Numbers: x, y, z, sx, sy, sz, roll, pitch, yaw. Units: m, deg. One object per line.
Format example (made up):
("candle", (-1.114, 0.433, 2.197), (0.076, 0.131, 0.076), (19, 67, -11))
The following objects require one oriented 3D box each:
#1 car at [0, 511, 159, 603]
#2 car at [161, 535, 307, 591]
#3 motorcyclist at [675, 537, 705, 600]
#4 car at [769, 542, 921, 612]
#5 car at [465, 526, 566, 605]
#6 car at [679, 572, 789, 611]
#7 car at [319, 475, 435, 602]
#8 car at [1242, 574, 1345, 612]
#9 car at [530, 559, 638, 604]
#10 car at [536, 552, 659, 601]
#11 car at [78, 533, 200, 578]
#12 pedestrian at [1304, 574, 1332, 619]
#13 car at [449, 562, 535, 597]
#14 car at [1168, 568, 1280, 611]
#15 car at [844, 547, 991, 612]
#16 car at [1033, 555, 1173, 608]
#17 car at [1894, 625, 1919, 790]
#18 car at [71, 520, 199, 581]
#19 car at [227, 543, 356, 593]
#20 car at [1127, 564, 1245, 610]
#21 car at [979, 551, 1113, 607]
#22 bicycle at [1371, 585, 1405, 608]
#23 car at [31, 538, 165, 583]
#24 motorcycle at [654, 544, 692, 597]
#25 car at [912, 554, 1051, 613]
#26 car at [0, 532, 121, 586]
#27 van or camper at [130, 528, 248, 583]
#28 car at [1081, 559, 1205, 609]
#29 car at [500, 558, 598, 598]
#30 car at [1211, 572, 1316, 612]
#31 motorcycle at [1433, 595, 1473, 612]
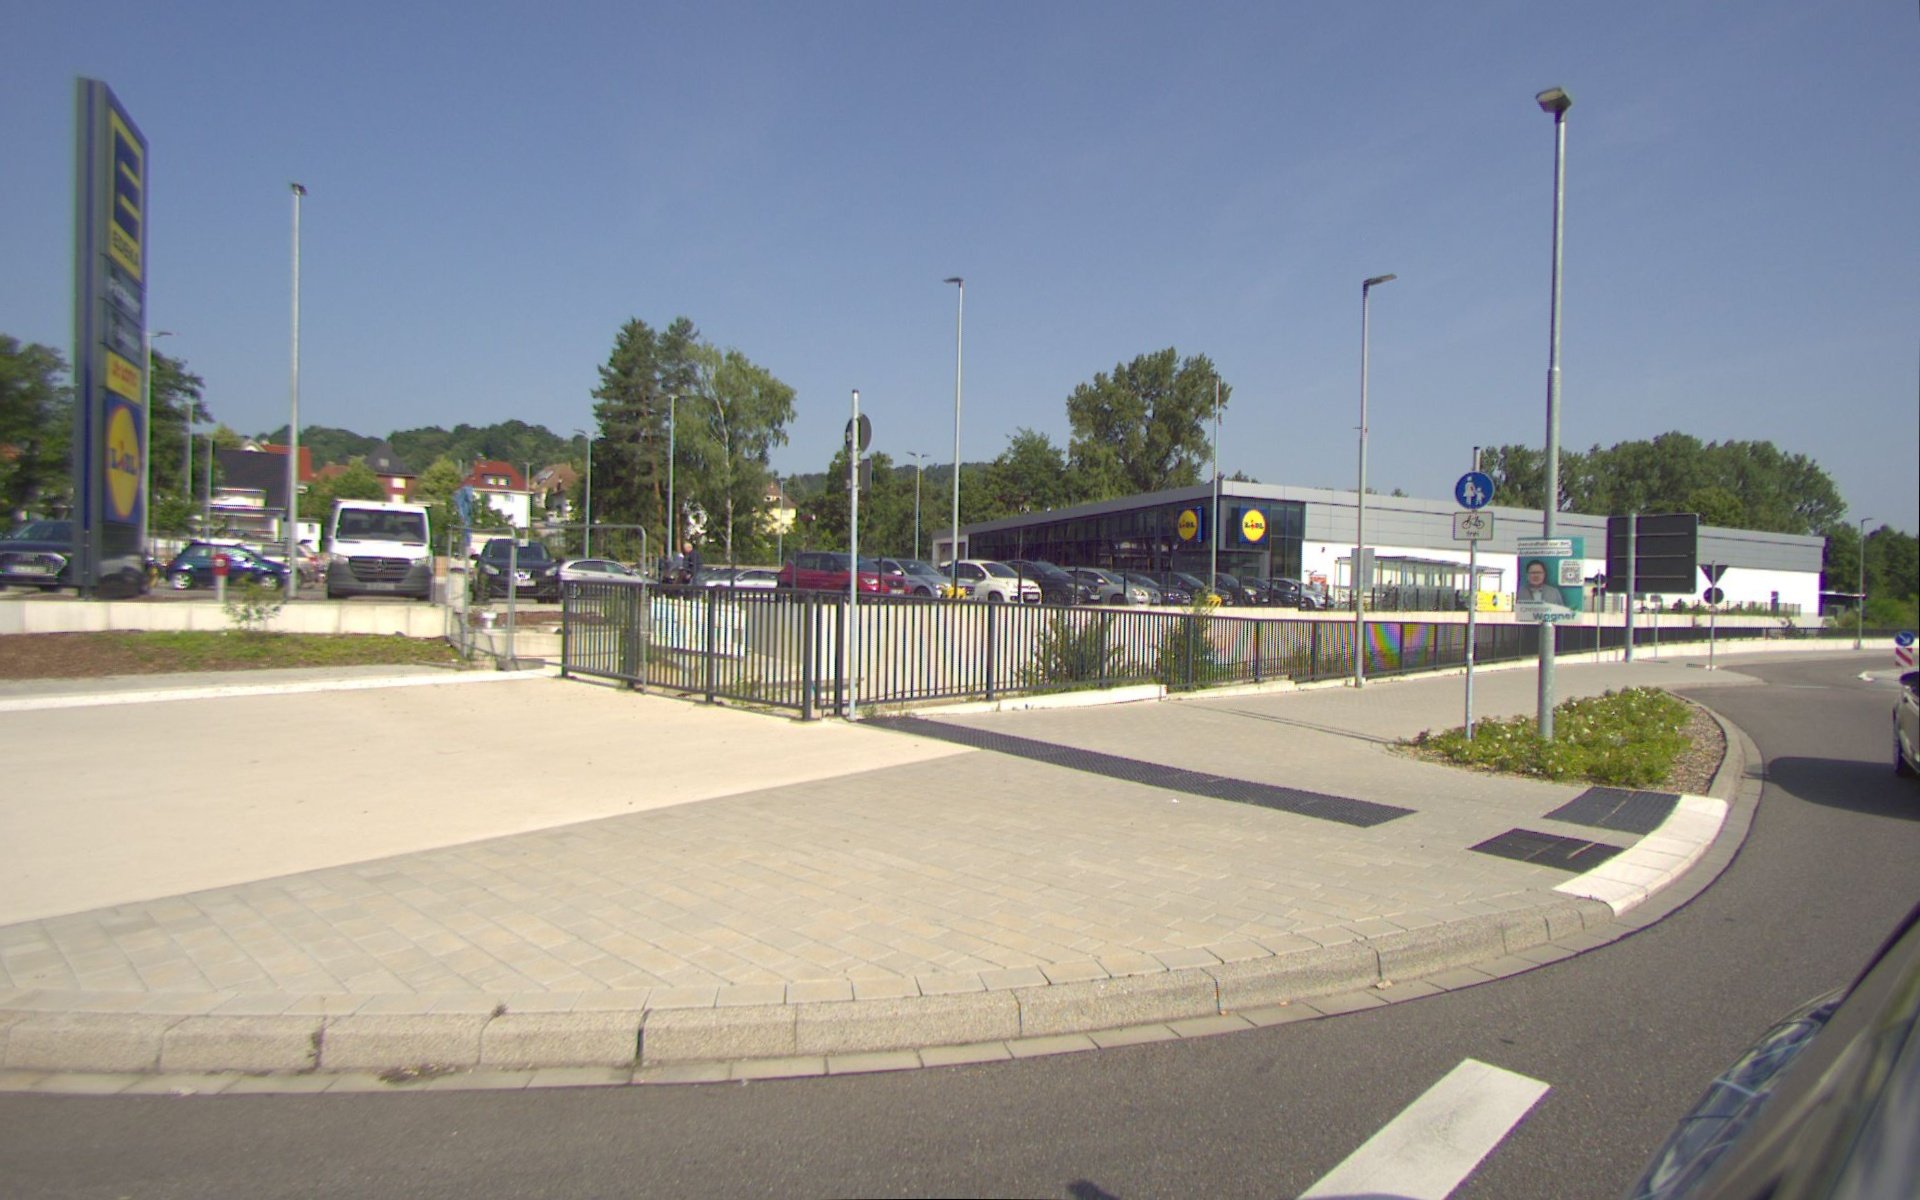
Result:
("car", (-18.104, -0.776, 20.590), (1.883, 1.550, 4.866), (1, -2, -27))
("car", (-23.477, -1.153, 32.891), (3.712, 1.594, 1.764), (1, -2, -32))
("motorcyclist", (-6.852, -0.790, 25.694), (0.508, 1.563, 0.578), (-1, -2, 20))
("car", (-3.015, -0.524, 26.024), (4.008, 1.594, 1.751), (-1, -2, 44))
("car", (-10.712, -0.738, 24.206), (1.796, 1.623, 4.481), (1, -2, -29))
("car", (-9.042, -0.304, 40.605), (3.924, 1.476, 1.799), (1, -2, -36))
("car", (-13.464, -1.230, 23.498), (2.019, 2.414, 6.097), (1, -2, -29))
("car", (15.060, -0.292, 45.784), (4.113, 1.594, 1.679), (-1, -2, 41))
("car", (-14.754, -0.692, 39.807), (3.712, 1.594, 1.666), (1, -2, -32))
("car", (-13.433, -0.832, 37.585), (3.924, 1.639, 1.999), (1, -2, -36))
("car", (-41.339, -2.204, 51.110), (4.556, 2.001, 2.000), (1, -2, -33))
("pedestrian", (16.421, -0.149, 46.400), (0.846, 2.040, 0.833), (1, -2, -34))
("car", (-23.324, -0.978, 50.472), (3.712, 1.594, 1.764), (1, -2, -32))
("car", (10.471, -0.385, 40.311), (3.982, 1.594, 1.679), (-1, -2, 41))
("car", (-1.208, -0.486, 27.527), (4.008, 1.594, 1.751), (-1, -2, 44))
("car", (4.675, -0.557, 33.460), (4.396, 1.594, 1.679), (-1, -2, 41))
("car", (8.837, 0.904, 8.131), (1.714, 1.339, 4.162), (0, -2, 40))
("car", (-40.015, -2.360, 49.261), (4.556, 2.651, 2.000), (1, -2, -33))
("car", (-23.581, -1.083, 35.855), (3.712, 1.594, 1.764), (1, -2, -32))
("car", (8.394, -0.449, 37.744), (3.982, 1.594, 1.679), (-1, -2, 41))
("car", (2.645, -0.601, 31.742), (3.982, 1.594, 1.679), (-1, -2, 41))
("bicycle", (21.449, -0.170, 50.672), (1.841, 1.108, 0.627), (1, -2, -32))
("car", (-31.980, -1.426, 37.659), (3.559, 1.464, 1.526), (1, -2, -31))
("motorcycle", (-7.130, -0.709, 25.201), (0.579, 1.206, 1.905), (1, -1, -6))
("car", (0.590, -0.428, 29.823), (3.982, 1.594, 1.679), (-1, -2, 41))
("car", (-27.603, -1.210, 30.321), (3.559, 1.464, 1.526), (1, -2, -31))
("van or camper", (-44.446, -2.503, 58.510), (5.183, 2.884, 2.295), (1, -2, -33))
("car", (6.350, -0.508, 35.388), (3.982, 1.594, 1.679), (-1, -2, 41))
("car", (-17.971, -0.910, 44.234), (3.712, 1.594, 1.764), (1, -2, -32))
("car", (12.880, -0.316, 43.054), (3.982, 1.594, 1.679), (-1, -2, 41))
("motorcycle", (26.137, 0.190, 53.650), (1.857, 0.875, 0.622), (-1, -2, 24))
